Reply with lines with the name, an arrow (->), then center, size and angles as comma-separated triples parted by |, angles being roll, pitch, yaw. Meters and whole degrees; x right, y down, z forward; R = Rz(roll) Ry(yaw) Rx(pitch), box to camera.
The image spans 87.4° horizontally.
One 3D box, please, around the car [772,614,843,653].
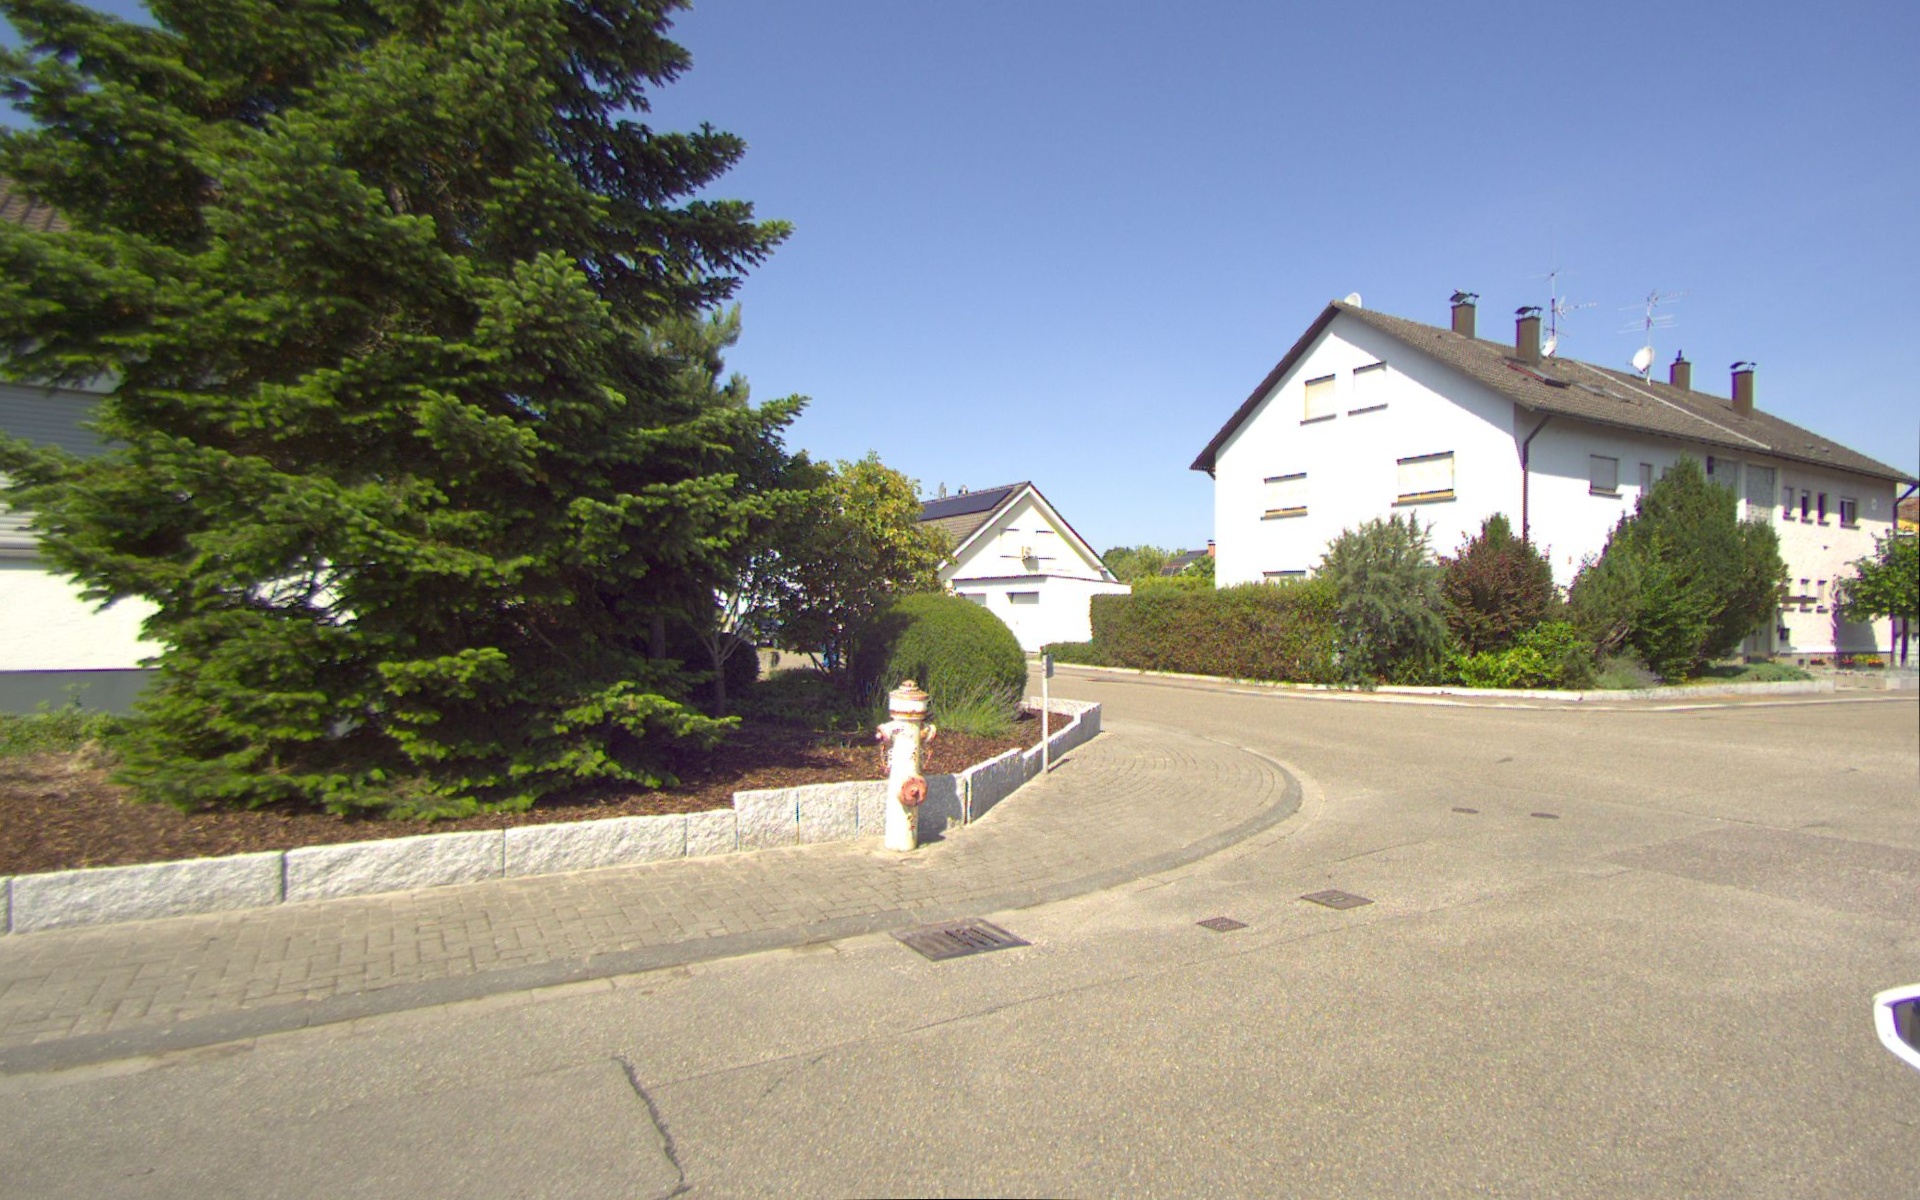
car -> -6.620, 1.409, 43.303 | 1.629, 1.498, 3.967 | 3, -1, -31
